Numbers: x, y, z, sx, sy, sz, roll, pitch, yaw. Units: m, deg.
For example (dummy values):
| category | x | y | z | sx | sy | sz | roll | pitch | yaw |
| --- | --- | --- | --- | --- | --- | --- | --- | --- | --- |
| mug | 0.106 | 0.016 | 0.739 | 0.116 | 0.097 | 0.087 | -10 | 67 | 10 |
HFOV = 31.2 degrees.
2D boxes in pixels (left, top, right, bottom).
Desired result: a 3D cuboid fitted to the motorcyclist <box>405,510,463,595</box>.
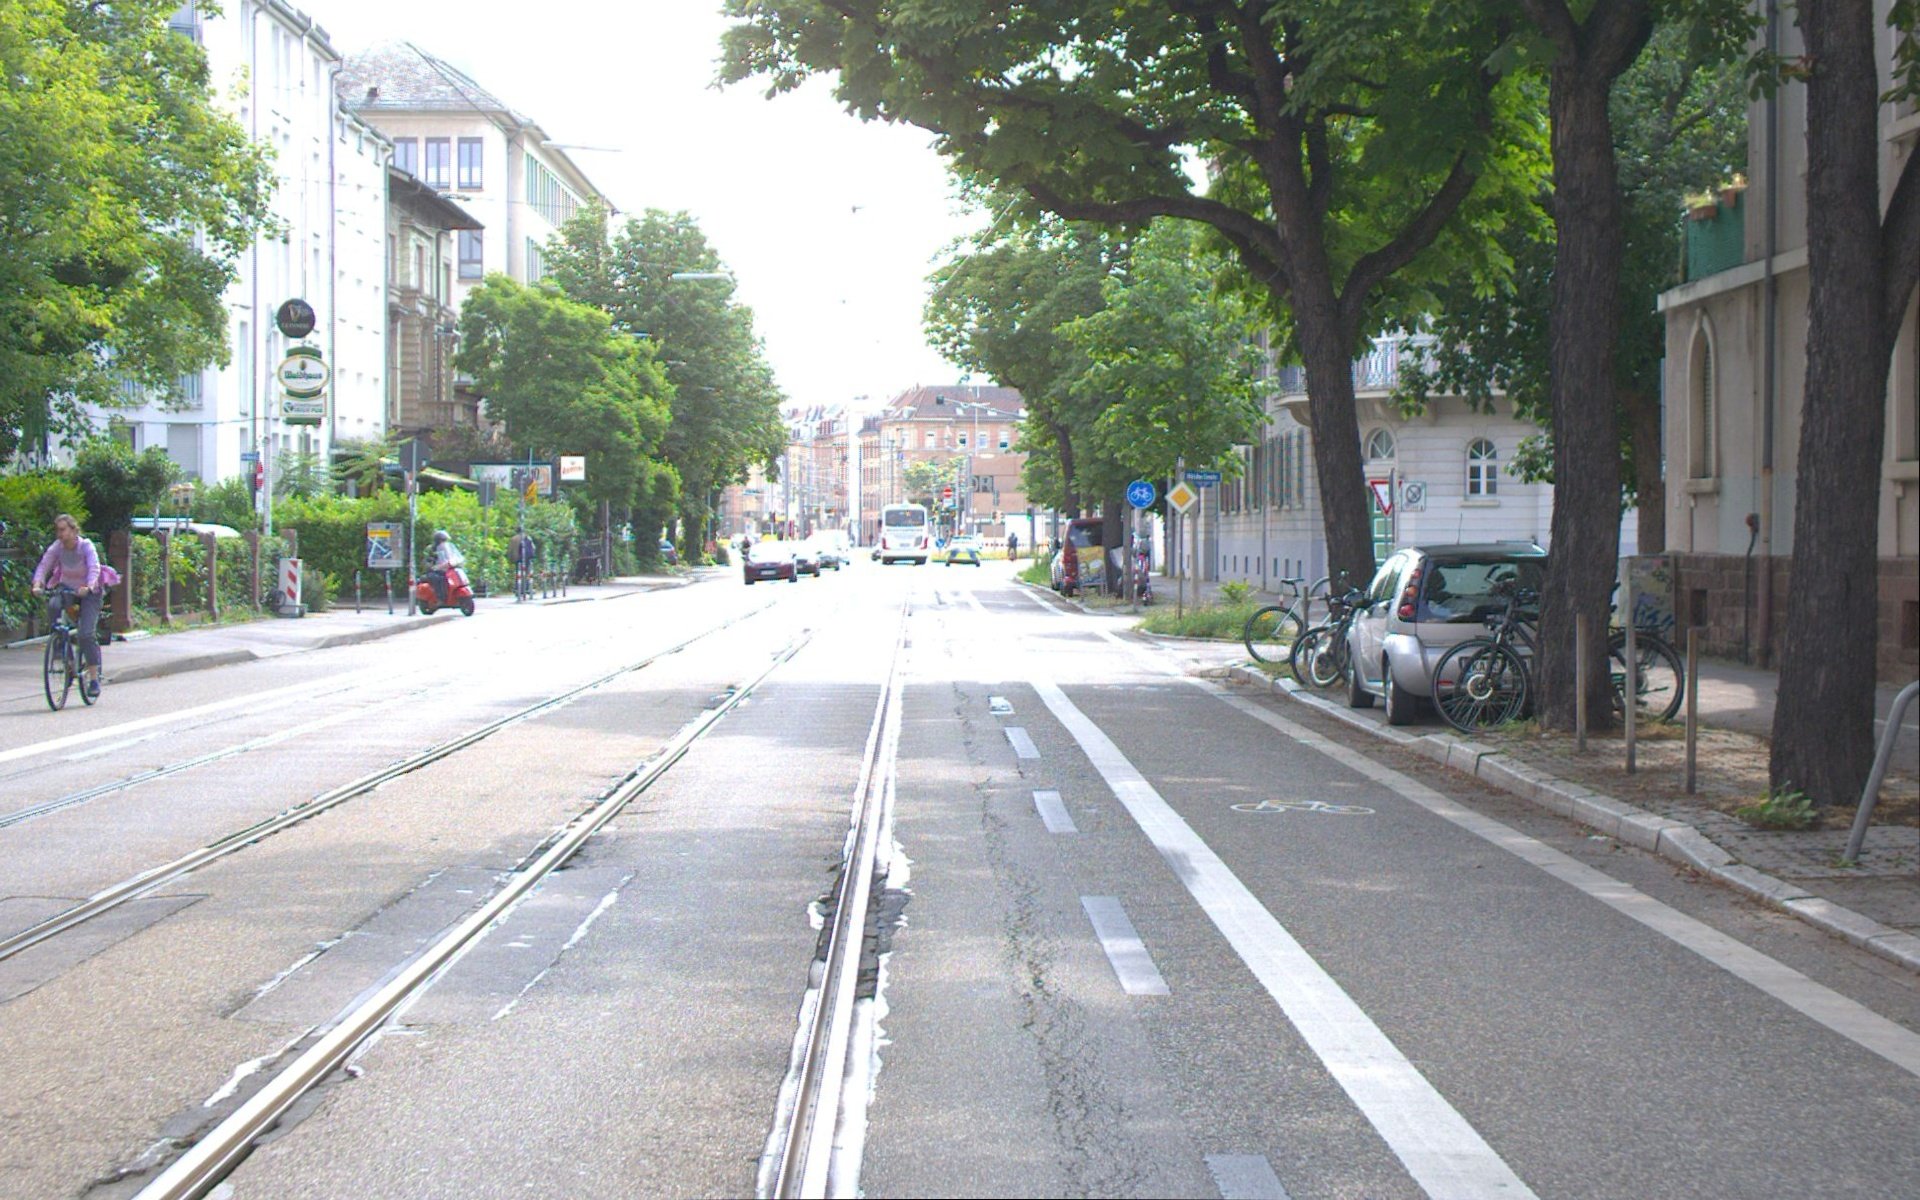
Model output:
| category | x | y | z | sx | sy | sz | roll | pitch | yaw |
| --- | --- | --- | --- | --- | --- | --- | --- | --- | --- |
| motorcyclist | -10.609 | -0.955 | 69.297 | 0.919 | 1.708 | 0.741 | 0 | 1 | 18 |

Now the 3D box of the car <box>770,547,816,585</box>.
| category | x | y | z | sx | sy | sz | roll | pitch | yaw |
| --- | --- | --- | --- | --- | --- | --- | --- | --- | --- |
| car | -6.440 | -1.336 | 132.850 | 1.628 | 1.402 | 4.129 | 1 | 1 | -1 |

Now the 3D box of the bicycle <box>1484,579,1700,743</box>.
| category | x | y | z | sx | sy | sz | roll | pitch | yaw |
| --- | --- | --- | --- | --- | --- | --- | --- | --- | --- |
| bicycle | 4.539 | 0.429 | 24.753 | 1.488 | 1.149 | 0.518 | 0 | 1 | 6 |

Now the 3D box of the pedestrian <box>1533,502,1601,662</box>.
| category | x | y | z | sx | sy | sz | roll | pitch | yaw |
| --- | --- | --- | --- | --- | --- | --- | --- | --- | --- |
| pedestrian | 7.055 | -0.217 | 39.980 | 0.618 | 1.827 | 1.030 | 0 | 1 | 1 |

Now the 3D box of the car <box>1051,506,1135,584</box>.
| category | x | y | z | sx | sy | sz | roll | pitch | yaw |
| --- | --- | --- | --- | --- | --- | --- | --- | --- | --- |
| car | 3.383 | -1.424 | 88.106 | 1.895 | 1.934 | 4.951 | 0 | 1 | -1 |

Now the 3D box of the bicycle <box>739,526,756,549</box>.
| category | x | y | z | sx | sy | sz | roll | pitch | yaw |
| --- | --- | --- | --- | --- | --- | --- | --- | --- | --- |
| bicycle | -10.943 | -3.230 | 177.261 | 0.602 | 1.093 | 2.023 | -5 | 1 | 2 |

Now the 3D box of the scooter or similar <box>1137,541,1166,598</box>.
| category | x | y | z | sx | sy | sz | roll | pitch | yaw |
| --- | --- | --- | --- | --- | --- | --- | --- | --- | --- |
| scooter or similar | 4.223 | -0.681 | 75.866 | 0.532 | 1.247 | 1.720 | 0 | 1 | 0 |

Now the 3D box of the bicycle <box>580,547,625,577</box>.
| category | x | y | z | sx | sy | sz | roll | pitch | yaw |
| --- | --- | --- | --- | --- | --- | --- | --- | --- | --- |
| bicycle | -11.689 | -1.257 | 112.522 | 1.142 | 0.905 | 2.989 | 3 | 1 | -1 |

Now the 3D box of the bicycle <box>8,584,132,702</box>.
| category | x | y | z | sx | sy | sz | roll | pitch | yaw |
| --- | --- | --- | --- | --- | --- | --- | --- | --- | --- |
| bicycle | -7.935 | 0.365 | 30.715 | 0.569 | 0.986 | 1.918 | 0 | 1 | 1 |

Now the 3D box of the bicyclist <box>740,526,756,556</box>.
| category | x | y | z | sx | sy | sz | roll | pitch | yaw |
| --- | --- | --- | --- | --- | --- | --- | --- | --- | --- |
| bicyclist | -10.926 | -3.040 | 177.251 | 0.599 | 1.487 | 0.882 | -5 | 1 | 2 |

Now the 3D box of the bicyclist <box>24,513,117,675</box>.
| category | x | y | z | sx | sy | sz | roll | pitch | yaw |
| --- | --- | --- | --- | --- | --- | --- | --- | --- | --- |
| bicyclist | -7.934 | -0.065 | 30.677 | 0.564 | 1.420 | 0.942 | 0 | 1 | 1 |

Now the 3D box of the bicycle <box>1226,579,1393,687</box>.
| category | x | y | z | sx | sy | sz | roll | pitch | yaw |
| --- | --- | --- | --- | --- | --- | --- | --- | --- | --- |
| bicycle | 3.512 | 0.329 | 34.602 | 1.647 | 1.067 | 0.348 | 0 | 1 | 3 |

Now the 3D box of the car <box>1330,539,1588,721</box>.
| category | x | y | z | sx | sy | sz | roll | pitch | yaw |
| --- | --- | --- | --- | --- | --- | --- | --- | --- | --- |
| car | 4.209 | 0.204 | 29.497 | 1.585 | 1.440 | 3.898 | 0 | 1 | -1 |

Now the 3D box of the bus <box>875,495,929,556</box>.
| category | x | y | z | sx | sy | sz | roll | pitch | yaw |
| --- | --- | --- | --- | --- | --- | --- | --- | --- | --- |
| bus | -3.305 | -4.185 | 195.445 | 2.917 | 3.317 | 12.207 | 1 | 1 | -1 |

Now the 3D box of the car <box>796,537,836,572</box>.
| category | x | y | z | sx | sy | sz | roll | pitch | yaw |
| --- | --- | --- | --- | --- | --- | --- | --- | --- | --- |
| car | -6.451 | -2.067 | 154.261 | 1.727 | 1.535 | 4.277 | -1 | 1 | -2 |

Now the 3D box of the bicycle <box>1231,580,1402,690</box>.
| category | x | y | z | sx | sy | sz | roll | pitch | yaw |
| --- | --- | --- | --- | --- | --- | --- | --- | --- | --- |
| bicycle | 3.498 | 0.340 | 33.823 | 1.647 | 1.067 | 0.348 | 0 | 1 | 3 |

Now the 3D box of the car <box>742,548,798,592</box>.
| category | x | y | z | sx | sy | sz | roll | pitch | yaw |
| --- | --- | --- | --- | --- | --- | --- | --- | --- | --- |
| car | -6.443 | -1.042 | 117.046 | 1.594 | 1.435 | 3.936 | -1 | 1 | 1 |

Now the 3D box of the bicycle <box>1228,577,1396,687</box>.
| category | x | y | z | sx | sy | sz | roll | pitch | yaw |
| --- | --- | --- | --- | --- | --- | --- | --- | --- | --- |
| bicycle | 3.494 | 0.317 | 34.181 | 1.647 | 1.067 | 0.348 | 0 | 1 | 3 |

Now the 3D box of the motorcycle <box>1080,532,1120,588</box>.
| category | x | y | z | sx | sy | sz | roll | pitch | yaw |
| --- | --- | --- | --- | --- | --- | --- | --- | --- | --- |
| motorcycle | 3.341 | -0.957 | 82.033 | 0.857 | 1.317 | 2.445 | 0 | 1 | 0 |

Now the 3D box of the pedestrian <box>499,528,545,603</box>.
| category | x | y | z | sx | sy | sz | roll | pitch | yaw |
| --- | --- | --- | --- | --- | --- | --- | --- | --- | --- |
| pedestrian | -11.145 | -0.884 | 87.464 | 1.059 | 1.911 | 0.829 | 0 | 1 | 1 |

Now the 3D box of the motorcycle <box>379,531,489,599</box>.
| category | x | y | z | sx | sy | sz | roll | pitch | yaw |
| --- | --- | --- | --- | --- | --- | --- | --- | --- | --- |
| motorcycle | -10.601 | -0.708 | 69.301 | 2.083 | 1.355 | 0.741 | 1 | 1 | 18 |

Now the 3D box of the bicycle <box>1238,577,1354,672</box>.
| category | x | y | z | sx | sy | sz | roll | pitch | yaw |
| --- | --- | --- | --- | --- | --- | --- | --- | --- | --- |
| bicycle | 3.820 | 0.276 | 39.120 | 1.268 | 1.062 | 0.478 | 0 | 1 | -1 |

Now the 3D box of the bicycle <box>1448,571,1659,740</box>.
| category | x | y | z | sx | sy | sz | roll | pitch | yaw |
| --- | --- | --- | --- | --- | --- | --- | --- | --- | --- |
| bicycle | 4.362 | 0.402 | 25.325 | 1.488 | 1.216 | 0.518 | 0 | 0 | 6 |

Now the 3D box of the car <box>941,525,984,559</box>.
| category | x | y | z | sx | sy | sz | roll | pitch | yaw |
| --- | --- | --- | --- | --- | --- | --- | --- | --- | --- |
| car | 0.135 | -3.054 | 181.648 | 2.130 | 1.678 | 4.103 | 1 | 2 | -2 |
